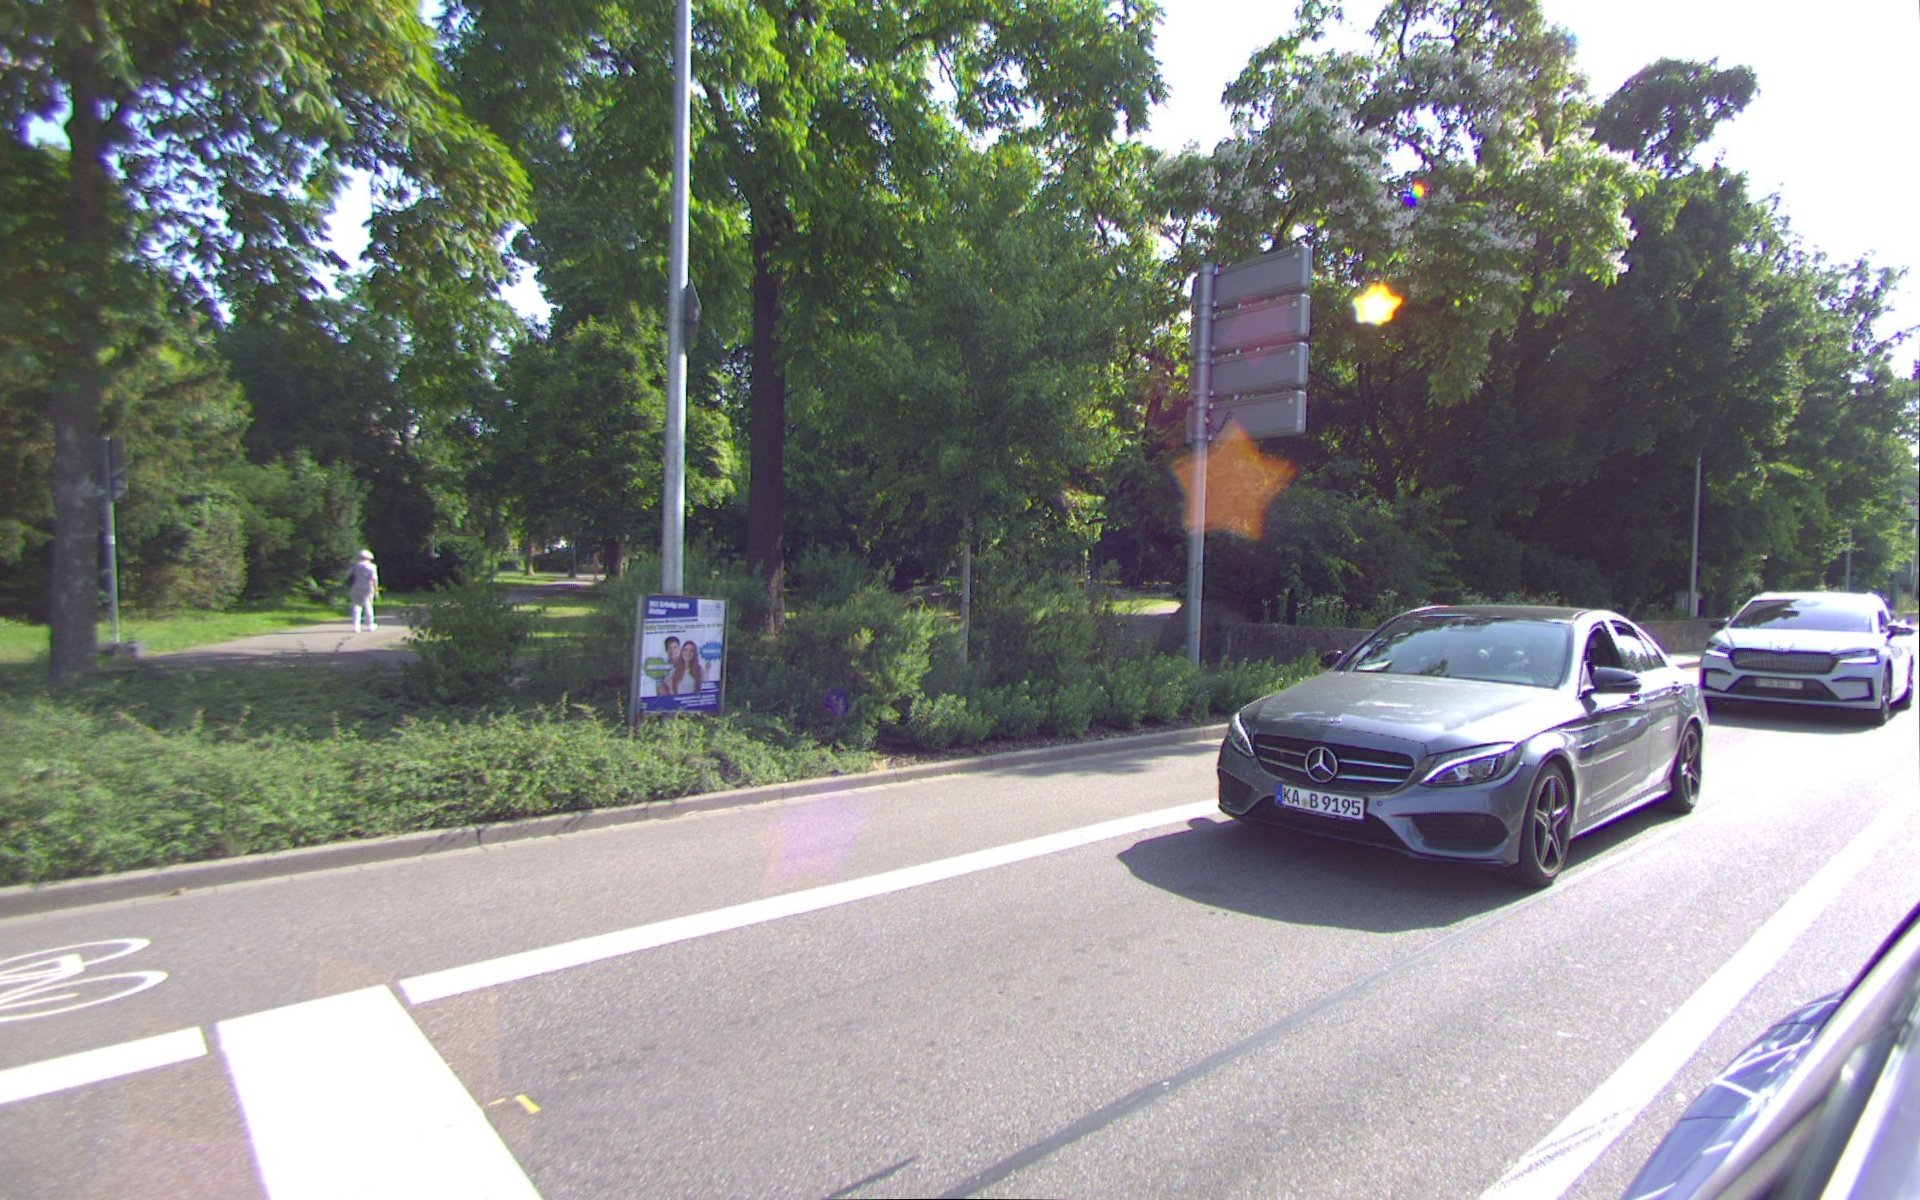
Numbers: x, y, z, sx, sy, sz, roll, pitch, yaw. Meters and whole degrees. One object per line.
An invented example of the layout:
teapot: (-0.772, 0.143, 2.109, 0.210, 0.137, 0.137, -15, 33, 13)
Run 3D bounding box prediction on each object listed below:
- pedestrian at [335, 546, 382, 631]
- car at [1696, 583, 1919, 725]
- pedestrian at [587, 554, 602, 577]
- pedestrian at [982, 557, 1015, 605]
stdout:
pedestrian: (-11.132, -0.227, 18.733, 0.523, 1.536, 0.671, 1, 1, -9)
car: (11.612, 0.595, 13.574, 4.175, 1.590, 1.896, 0, 1, -41)
pedestrian: (-23.734, -2.231, 65.787, 0.749, 1.471, 0.558, 0, 2, -41)
pedestrian: (1.527, -0.769, 40.166, 1.048, 1.853, 0.987, 1, 1, -11)
